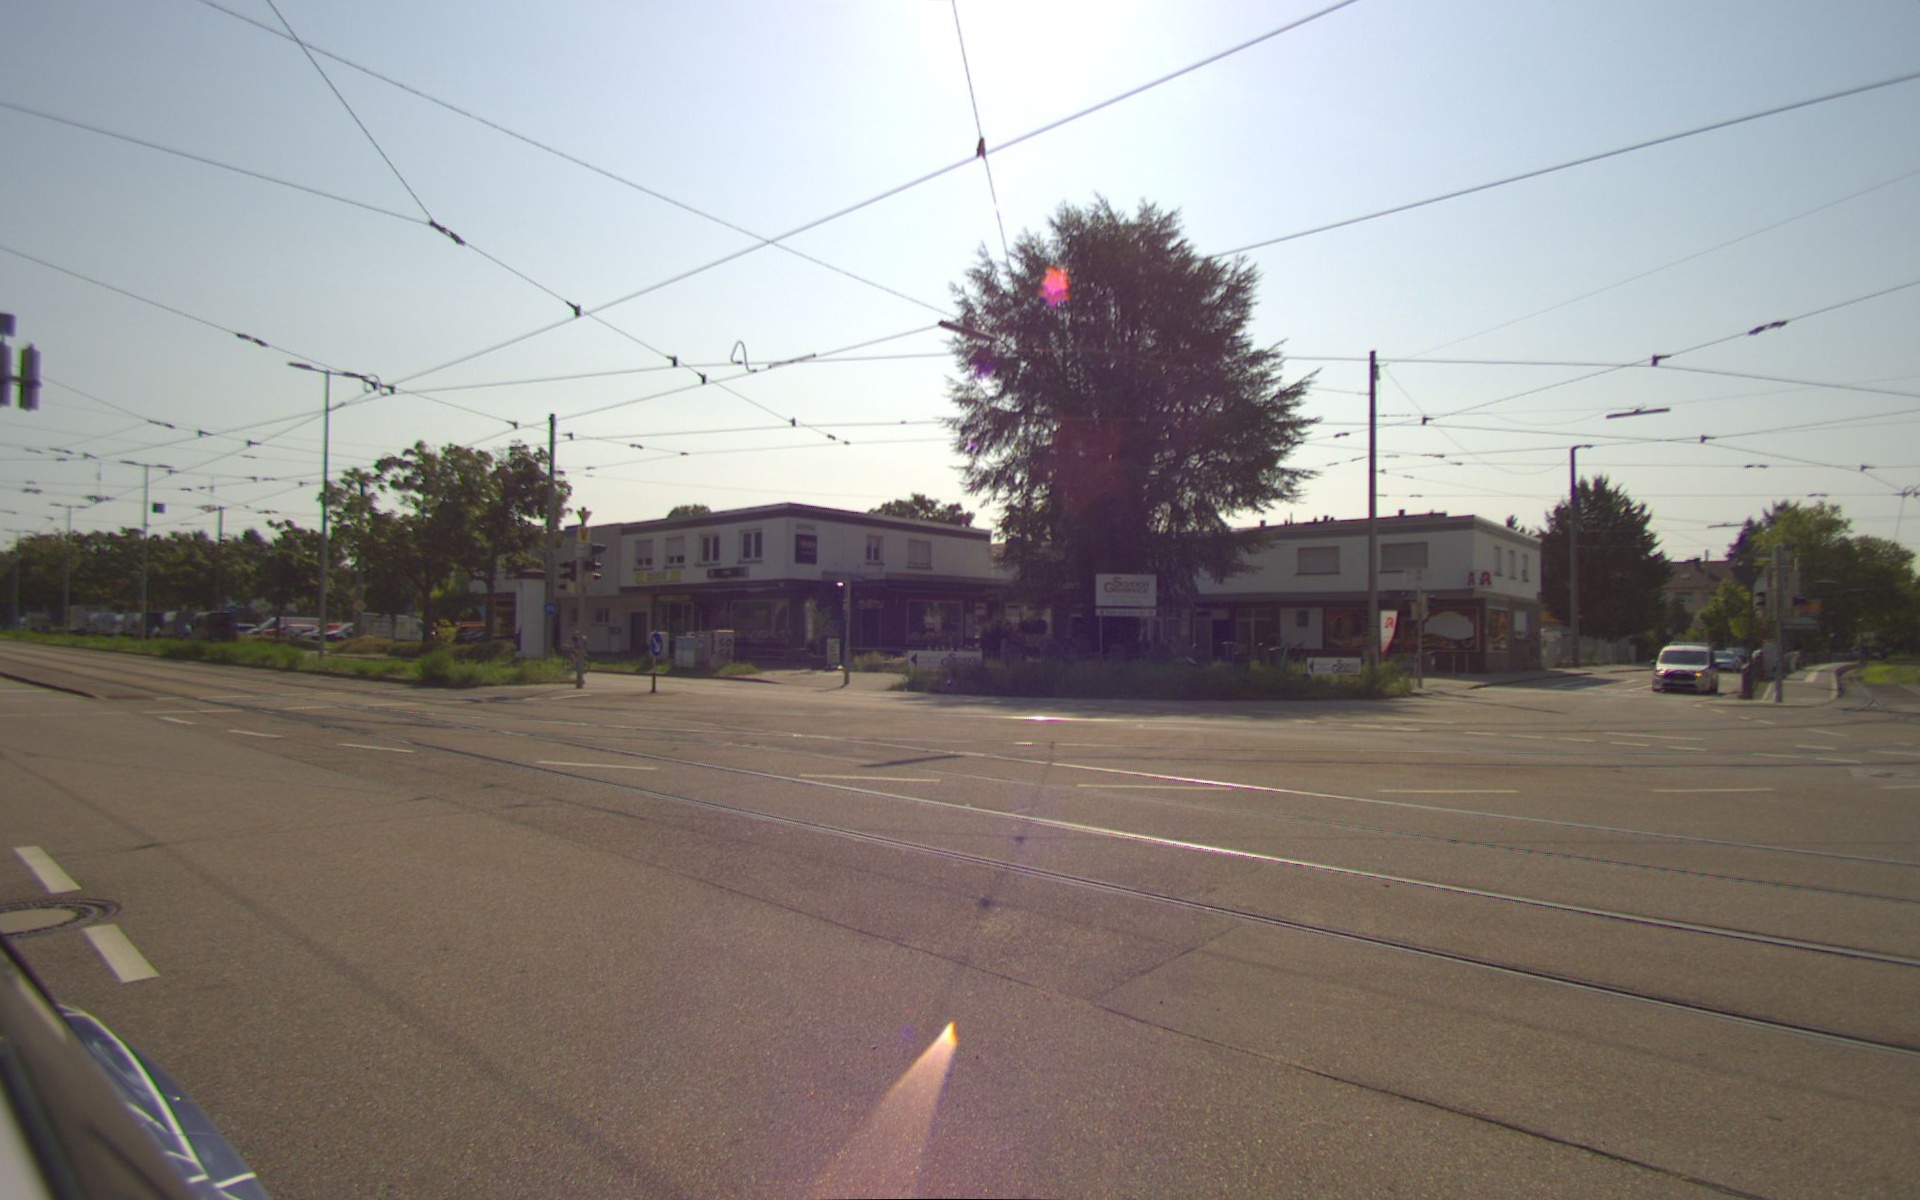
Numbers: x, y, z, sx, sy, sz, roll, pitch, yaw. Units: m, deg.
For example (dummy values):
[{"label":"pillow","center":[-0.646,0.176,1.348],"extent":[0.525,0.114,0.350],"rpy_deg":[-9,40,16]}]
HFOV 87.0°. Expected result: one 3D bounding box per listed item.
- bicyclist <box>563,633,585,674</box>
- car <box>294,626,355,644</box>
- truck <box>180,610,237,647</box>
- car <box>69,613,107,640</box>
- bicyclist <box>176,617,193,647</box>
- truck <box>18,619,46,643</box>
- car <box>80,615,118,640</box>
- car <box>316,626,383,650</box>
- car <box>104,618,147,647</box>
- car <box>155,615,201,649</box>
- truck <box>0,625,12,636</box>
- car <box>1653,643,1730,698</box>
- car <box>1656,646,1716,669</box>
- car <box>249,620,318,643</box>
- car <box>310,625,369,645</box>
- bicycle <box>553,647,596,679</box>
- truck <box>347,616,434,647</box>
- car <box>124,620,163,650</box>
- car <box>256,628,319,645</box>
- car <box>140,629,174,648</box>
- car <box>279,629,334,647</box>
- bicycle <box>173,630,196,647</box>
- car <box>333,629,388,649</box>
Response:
[{"label":"bicyclist","center":[-14.796,2.058,38.771],"extent":[0.490,1.534,0.562],"rpy_deg":[-1,-5,43]},{"label":"car","center":[-55.600,3.056,88.596],"extent":[1.623,1.474,4.115],"rpy_deg":[-1,-4,39]},{"label":"truck","center":[-55.494,2.093,74.726],"extent":[5.736,2.567,2.059],"rpy_deg":[-1,-5,41]},{"label":"car","center":[-95.918,2.931,111.286],"extent":[7.230,2.826,2.101],"rpy_deg":[-1,-5,42]},{"label":"bicyclist","center":[-54.236,2.216,70.757],"extent":[0.773,2.080,0.631],"rpy_deg":[-1,-5,38]},{"label":"truck","center":[-128.153,4.231,139.695],"extent":[8.790,3.145,2.247],"rpy_deg":[-1,-5,44]},{"label":"car","center":[-89.011,2.827,104.571],"extent":[4.829,2.477,2.121],"rpy_deg":[-1,-5,40]},{"label":"car","center":[-50.593,3.157,83.924],"extent":[1.632,1.798,4.353],"rpy_deg":[-1,-5,40]},{"label":"car","center":[-78.152,3.007,94.756],"extent":[5.630,2.606,2.109],"rpy_deg":[-1,-5,42]},{"label":"car","center":[-62.871,2.562,81.311],"extent":[6.468,2.606,1.966],"rpy_deg":[-1,-2,44]},{"label":"truck","center":[-150.997,4.859,159.762],"extent":[3.655,1.687,1.669],"rpy_deg":[-1,-5,42]},{"label":"car","center":[27.276,2.585,37.698],"extent":[1.823,1.901,3.969],"rpy_deg":[-2,-3,43]},{"label":"car","center":[61.376,4.895,85.563],"extent":[3.998,1.785,1.973],"rpy_deg":[-1,-5,41]},{"label":"car","center":[-65.993,3.102,98.820],"extent":[2.051,1.940,5.132],"rpy_deg":[-1,-5,40]},{"label":"car","center":[-52.536,2.990,85.738],"extent":[1.632,1.530,3.883],"rpy_deg":[-1,-5,40]},{"label":"bicycle","center":[-14.759,2.403,38.711],"extent":[2.208,1.189,0.568],"rpy_deg":[-4,-6,43]},{"label":"truck","center":[-44.552,2.474,79.250],"extent":[2.258,2.189,5.433],"rpy_deg":[-1,-5,40]},{"label":"car","center":[-72.132,3.097,89.357],"extent":[5.909,2.606,1.802],"rpy_deg":[-2,-3,43]},{"label":"car","center":[-64.013,3.494,96.401],"extent":[1.632,1.461,4.606],"rpy_deg":[-1,-5,40]},{"label":"car","center":[-67.841,3.247,85.463],"extent":[3.835,1.564,1.725],"rpy_deg":[-1,-3,44]},{"label":"car","center":[-60.082,3.468,93.033],"extent":[1.632,1.461,3.883],"rpy_deg":[-1,-5,40]},{"label":"bicycle","center":[-54.212,2.704,70.749],"extent":[2.262,1.099,0.708],"rpy_deg":[-1,-4,38]},{"label":"car","center":[-48.370,3.153,81.692],"extent":[1.632,1.437,3.369],"rpy_deg":[-1,-5,40]}]
